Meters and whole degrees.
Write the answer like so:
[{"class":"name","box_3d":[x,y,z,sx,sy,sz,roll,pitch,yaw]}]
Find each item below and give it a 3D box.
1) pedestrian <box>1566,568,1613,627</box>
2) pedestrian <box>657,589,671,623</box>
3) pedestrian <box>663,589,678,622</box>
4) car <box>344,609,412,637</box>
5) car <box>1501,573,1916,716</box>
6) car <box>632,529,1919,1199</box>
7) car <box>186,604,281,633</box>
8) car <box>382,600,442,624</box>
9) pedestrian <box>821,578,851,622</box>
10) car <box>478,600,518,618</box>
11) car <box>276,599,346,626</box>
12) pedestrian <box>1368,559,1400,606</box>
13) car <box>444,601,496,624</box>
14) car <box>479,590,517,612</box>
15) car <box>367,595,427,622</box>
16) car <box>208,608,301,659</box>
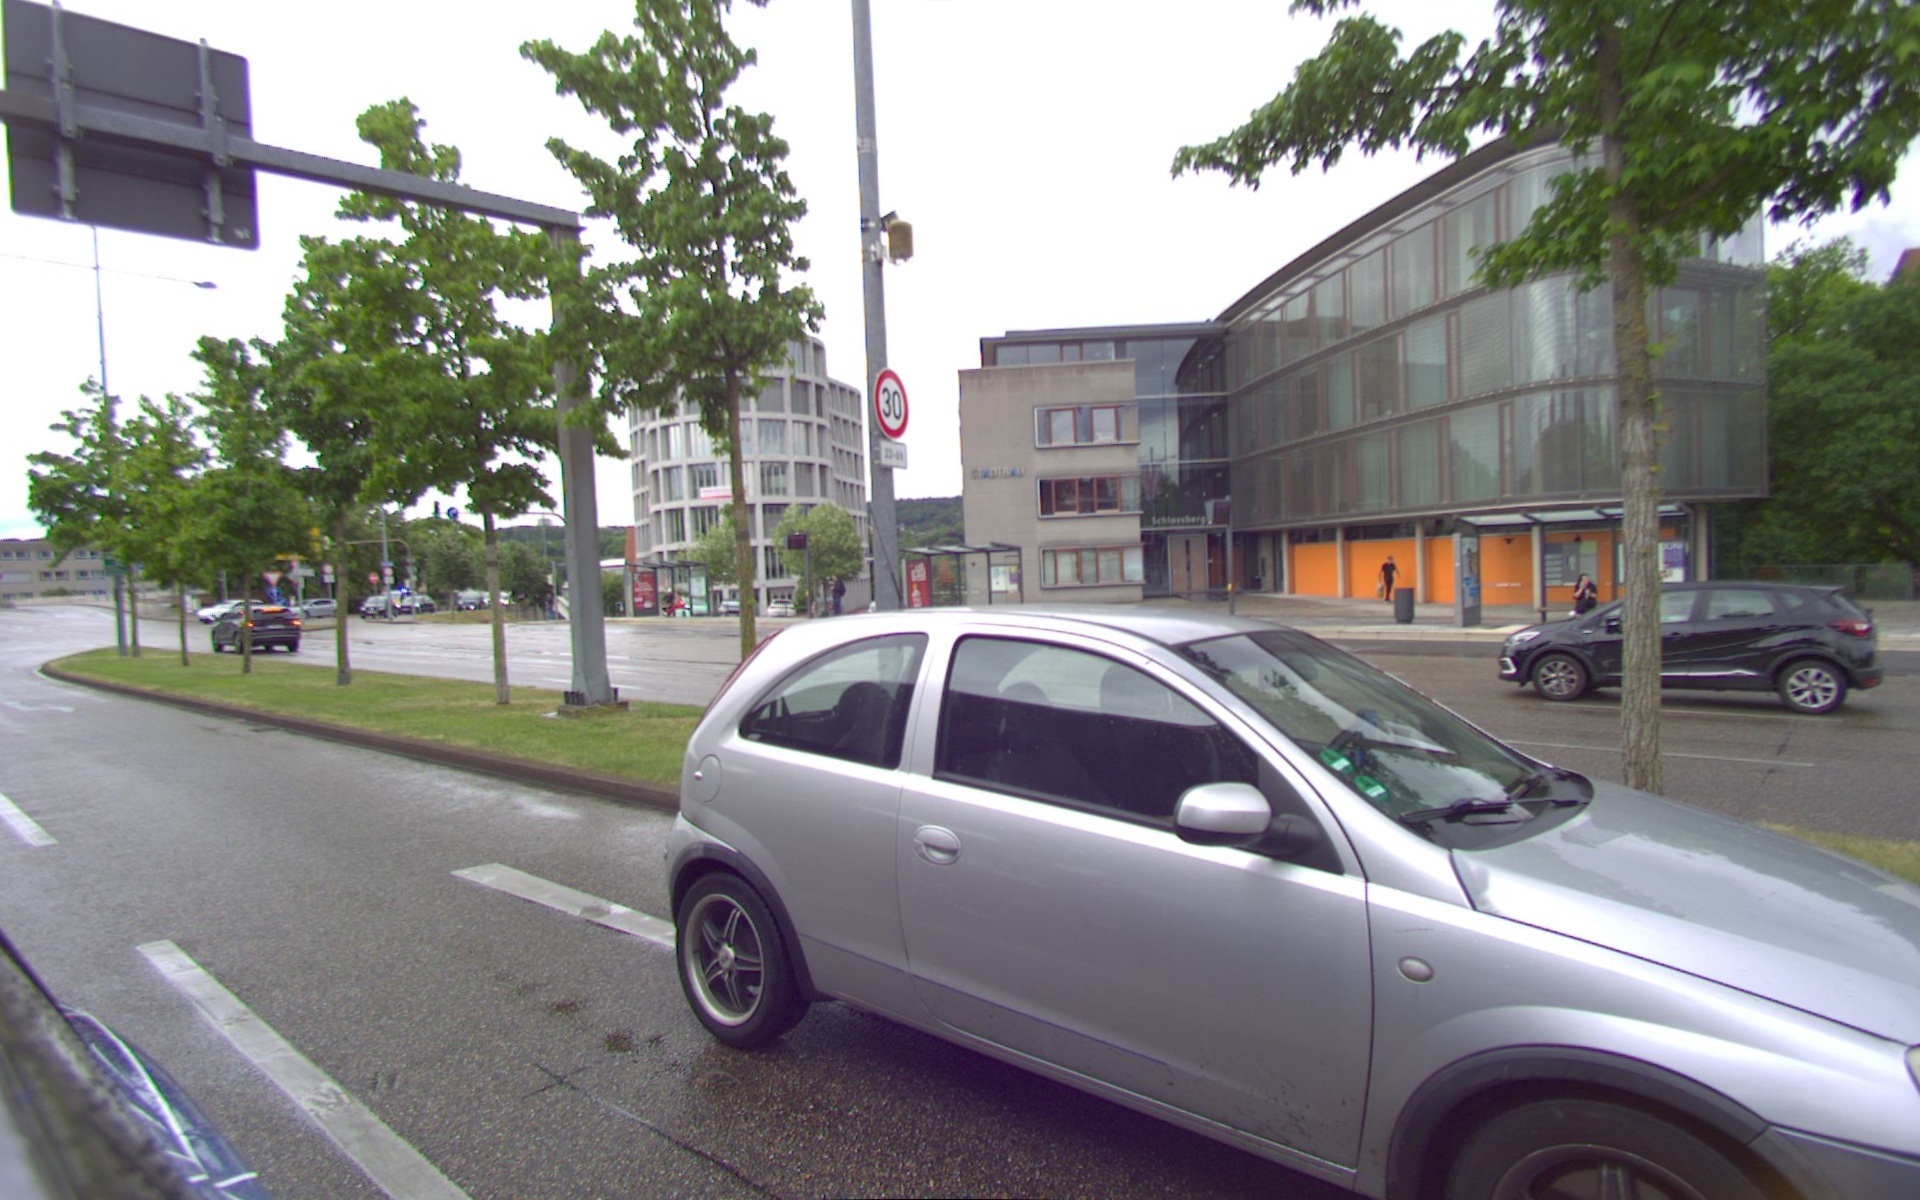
[{"class":"pedestrian","box_3d":[14.608,-0.052,23.483,0.790,1.334,0.793,-1,0,42]},{"class":"pedestrian","box_3d":[-14.728,0.298,50.339,0.501,1.647,0.497,-1,0,41]},{"class":"pedestrian","box_3d":[-14.557,0.292,50.907,0.535,1.647,0.514,-1,0,41]},{"class":"car","box_3d":[-41.138,1.600,71.686,2.164,1.725,4.919,-1,0,-3]},{"class":"car","box_3d":[9.446,0.496,13.022,4.078,1.542,1.752,-1,0,42]},{"class":"car","box_3d":[0.793,0.639,2.957,3.733,1.469,1.607,-1,0,41]},{"class":"car","box_3d":[-48.885,1.230,68.233,2.179,1.725,4.885,-1,0,19]},{"class":"car","box_3d":[-42.612,0.941,78.831,2.164,1.725,4.919,-1,0,-3]},{"class":"pedestrian","box_3d":[-5.072,0.010,41.496,0.964,1.773,0.783,-1,0,12]},{"class":"car","box_3d":[-47.235,0.916,103.646,2.163,1.725,4.922,-1,0,-5]},{"class":"car","box_3d":[-47.267,0.870,73.752,1.982,1.807,3.979,-1,0,16]},{"class":"pedestrian","box_3d":[15.349,-0.631,36.648,0.697,1.666,0.852,-1,0,-6]},{"class":"car","box_3d":[-41.052,1.022,84.847,2.164,1.725,4.920,-1,0,-3]},{"class":"car","box_3d":[-43.478,0.087,95.292,1.969,2.029,4.005,-2,0,-6]},{"class":"car","box_3d":[-45.757,0.649,82.362,2.276,2.029,5.038,-1,0,-3]},{"class":"car","box_3d":[-25.108,1.145,35.951,4.600,1.652,1.802,-1,1,43]}]
